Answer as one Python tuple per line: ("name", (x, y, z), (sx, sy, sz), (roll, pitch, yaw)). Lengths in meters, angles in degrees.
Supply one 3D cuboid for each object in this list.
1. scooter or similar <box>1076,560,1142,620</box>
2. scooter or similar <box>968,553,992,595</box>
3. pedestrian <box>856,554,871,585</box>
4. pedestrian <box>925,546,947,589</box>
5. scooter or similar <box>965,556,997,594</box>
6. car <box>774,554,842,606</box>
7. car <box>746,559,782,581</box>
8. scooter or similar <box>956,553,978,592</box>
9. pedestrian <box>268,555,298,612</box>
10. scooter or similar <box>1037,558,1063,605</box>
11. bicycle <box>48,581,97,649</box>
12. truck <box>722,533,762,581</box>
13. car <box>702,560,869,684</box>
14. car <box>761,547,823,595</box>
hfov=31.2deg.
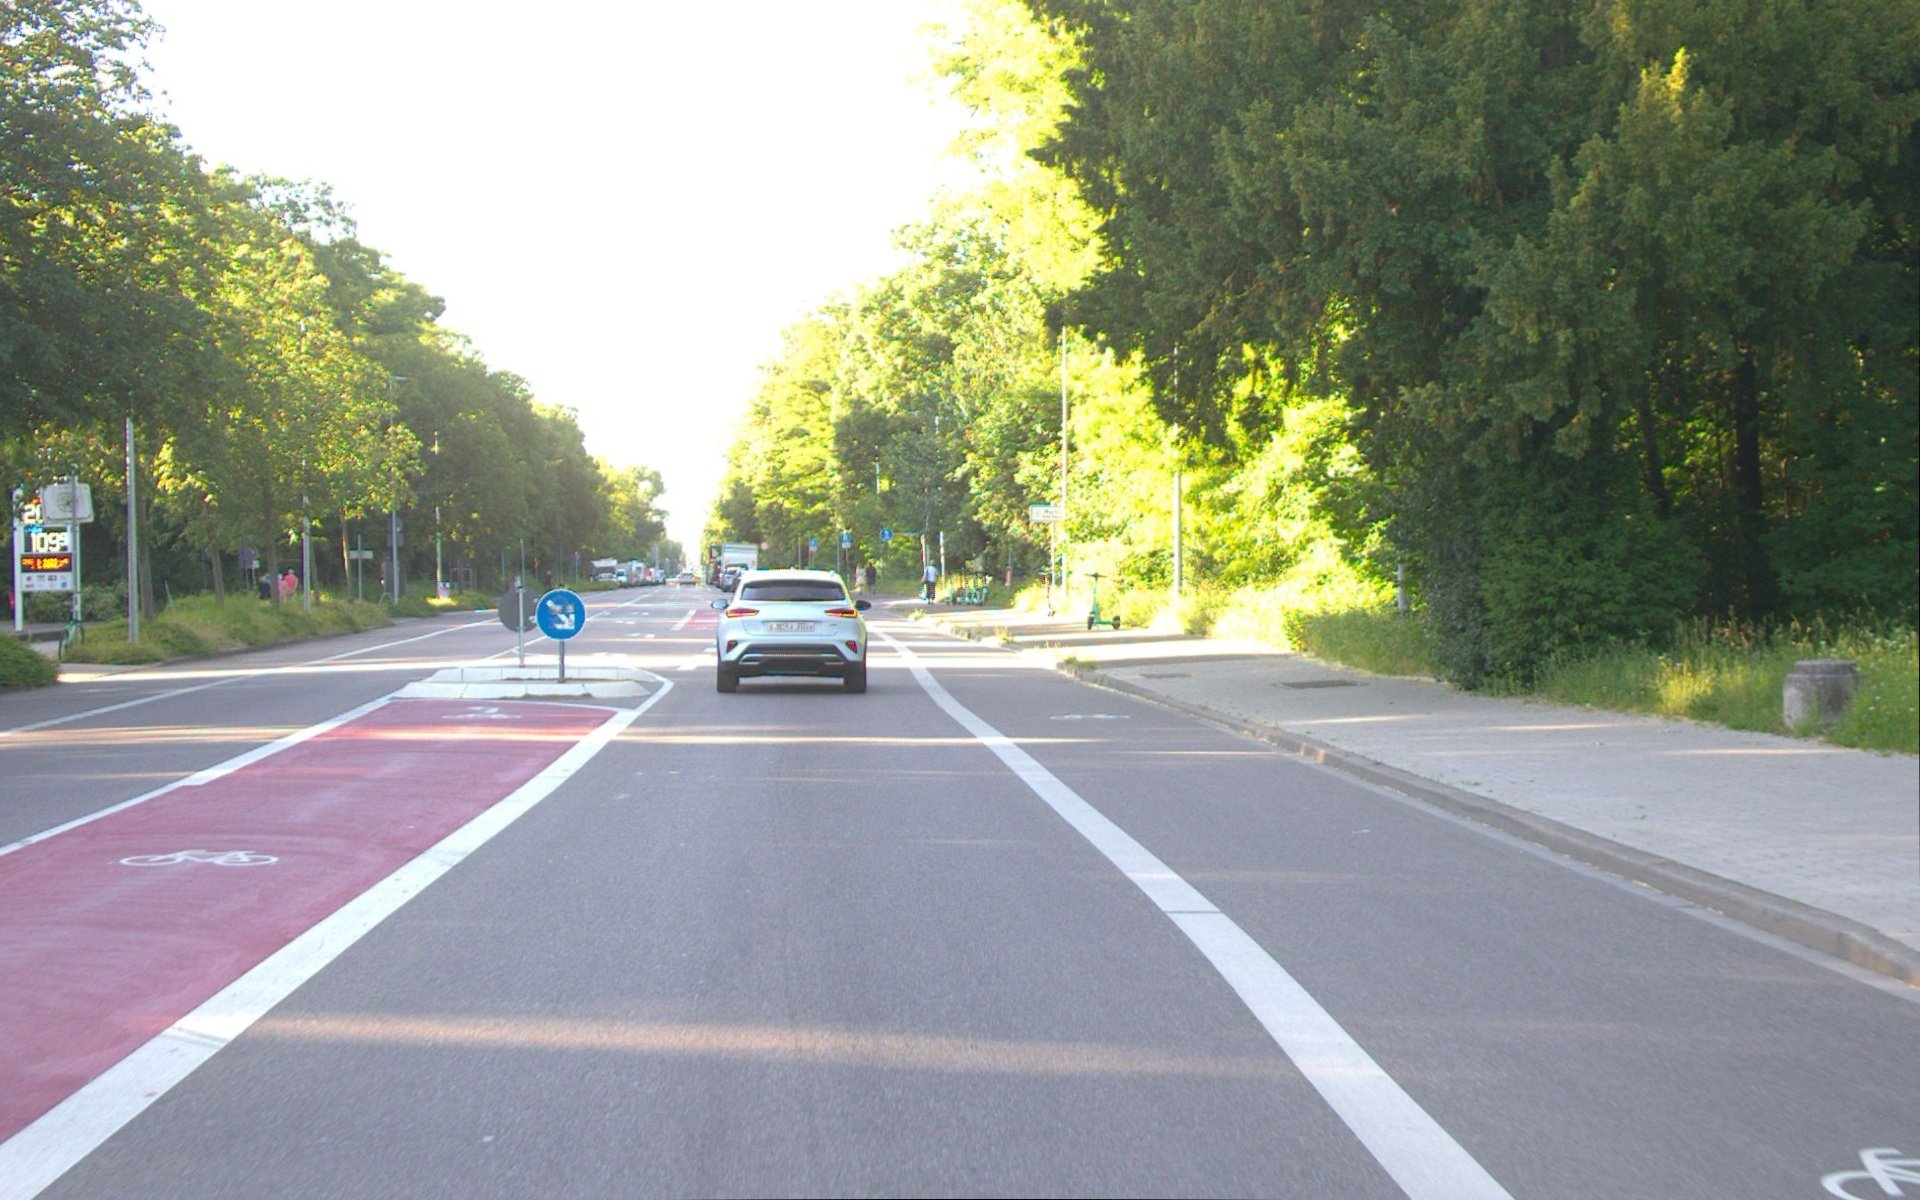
("scooter or similar", (3.224, -0.221, 74.299), (0.534, 1.245, 1.537), (-1, 1, 43))
("scooter or similar", (0.677, -0.898, 117.848), (0.682, 1.418, 1.682), (-1, 1, -4))
("pedestrian", (-5.163, -1.630, 184.192), (0.698, 1.647, 0.876), (-1, 1, -4))
("pedestrian", (-0.877, -1.210, 127.731), (0.755, 1.558, 0.802), (-2, 1, 2))
("scooter or similar", (0.732, -0.865, 119.709), (0.465, 1.302, 1.481), (-1, 1, -26))
("car", (-4.705, -0.623, 105.883), (1.993, 1.514, 4.001), (-2, 1, -3))
("car", (-12.289, -1.895, 215.403), (1.993, 1.322, 4.001), (-1, 1, -7))
("scooter or similar", (0.267, -1.021, 126.855), (0.682, 1.418, 1.682), (-1, 1, -4))
("pedestrian", (-24.145, -0.589, 122.607), (0.718, 2.007, 0.746), (-1, 1, 26))
("scooter or similar", (2.415, -0.510, 92.136), (0.533, 1.245, 1.541), (-1, 1, -4))
("bicycle", (-16.855, 0.281, 65.308), (0.654, 1.246, 2.160), (-1, 1, -9))
("truck", (-16.461, -3.246, 258.990), (2.799, 3.558, 8.036), (0, 1, -5))
("car", (-2.202, 0.246, 42.602), (1.761, 1.454, 3.819), (1, 1, -7))
("car", (-5.105, -0.894, 104.674), (1.676, 1.413, 3.574), (-2, 1, 0))
